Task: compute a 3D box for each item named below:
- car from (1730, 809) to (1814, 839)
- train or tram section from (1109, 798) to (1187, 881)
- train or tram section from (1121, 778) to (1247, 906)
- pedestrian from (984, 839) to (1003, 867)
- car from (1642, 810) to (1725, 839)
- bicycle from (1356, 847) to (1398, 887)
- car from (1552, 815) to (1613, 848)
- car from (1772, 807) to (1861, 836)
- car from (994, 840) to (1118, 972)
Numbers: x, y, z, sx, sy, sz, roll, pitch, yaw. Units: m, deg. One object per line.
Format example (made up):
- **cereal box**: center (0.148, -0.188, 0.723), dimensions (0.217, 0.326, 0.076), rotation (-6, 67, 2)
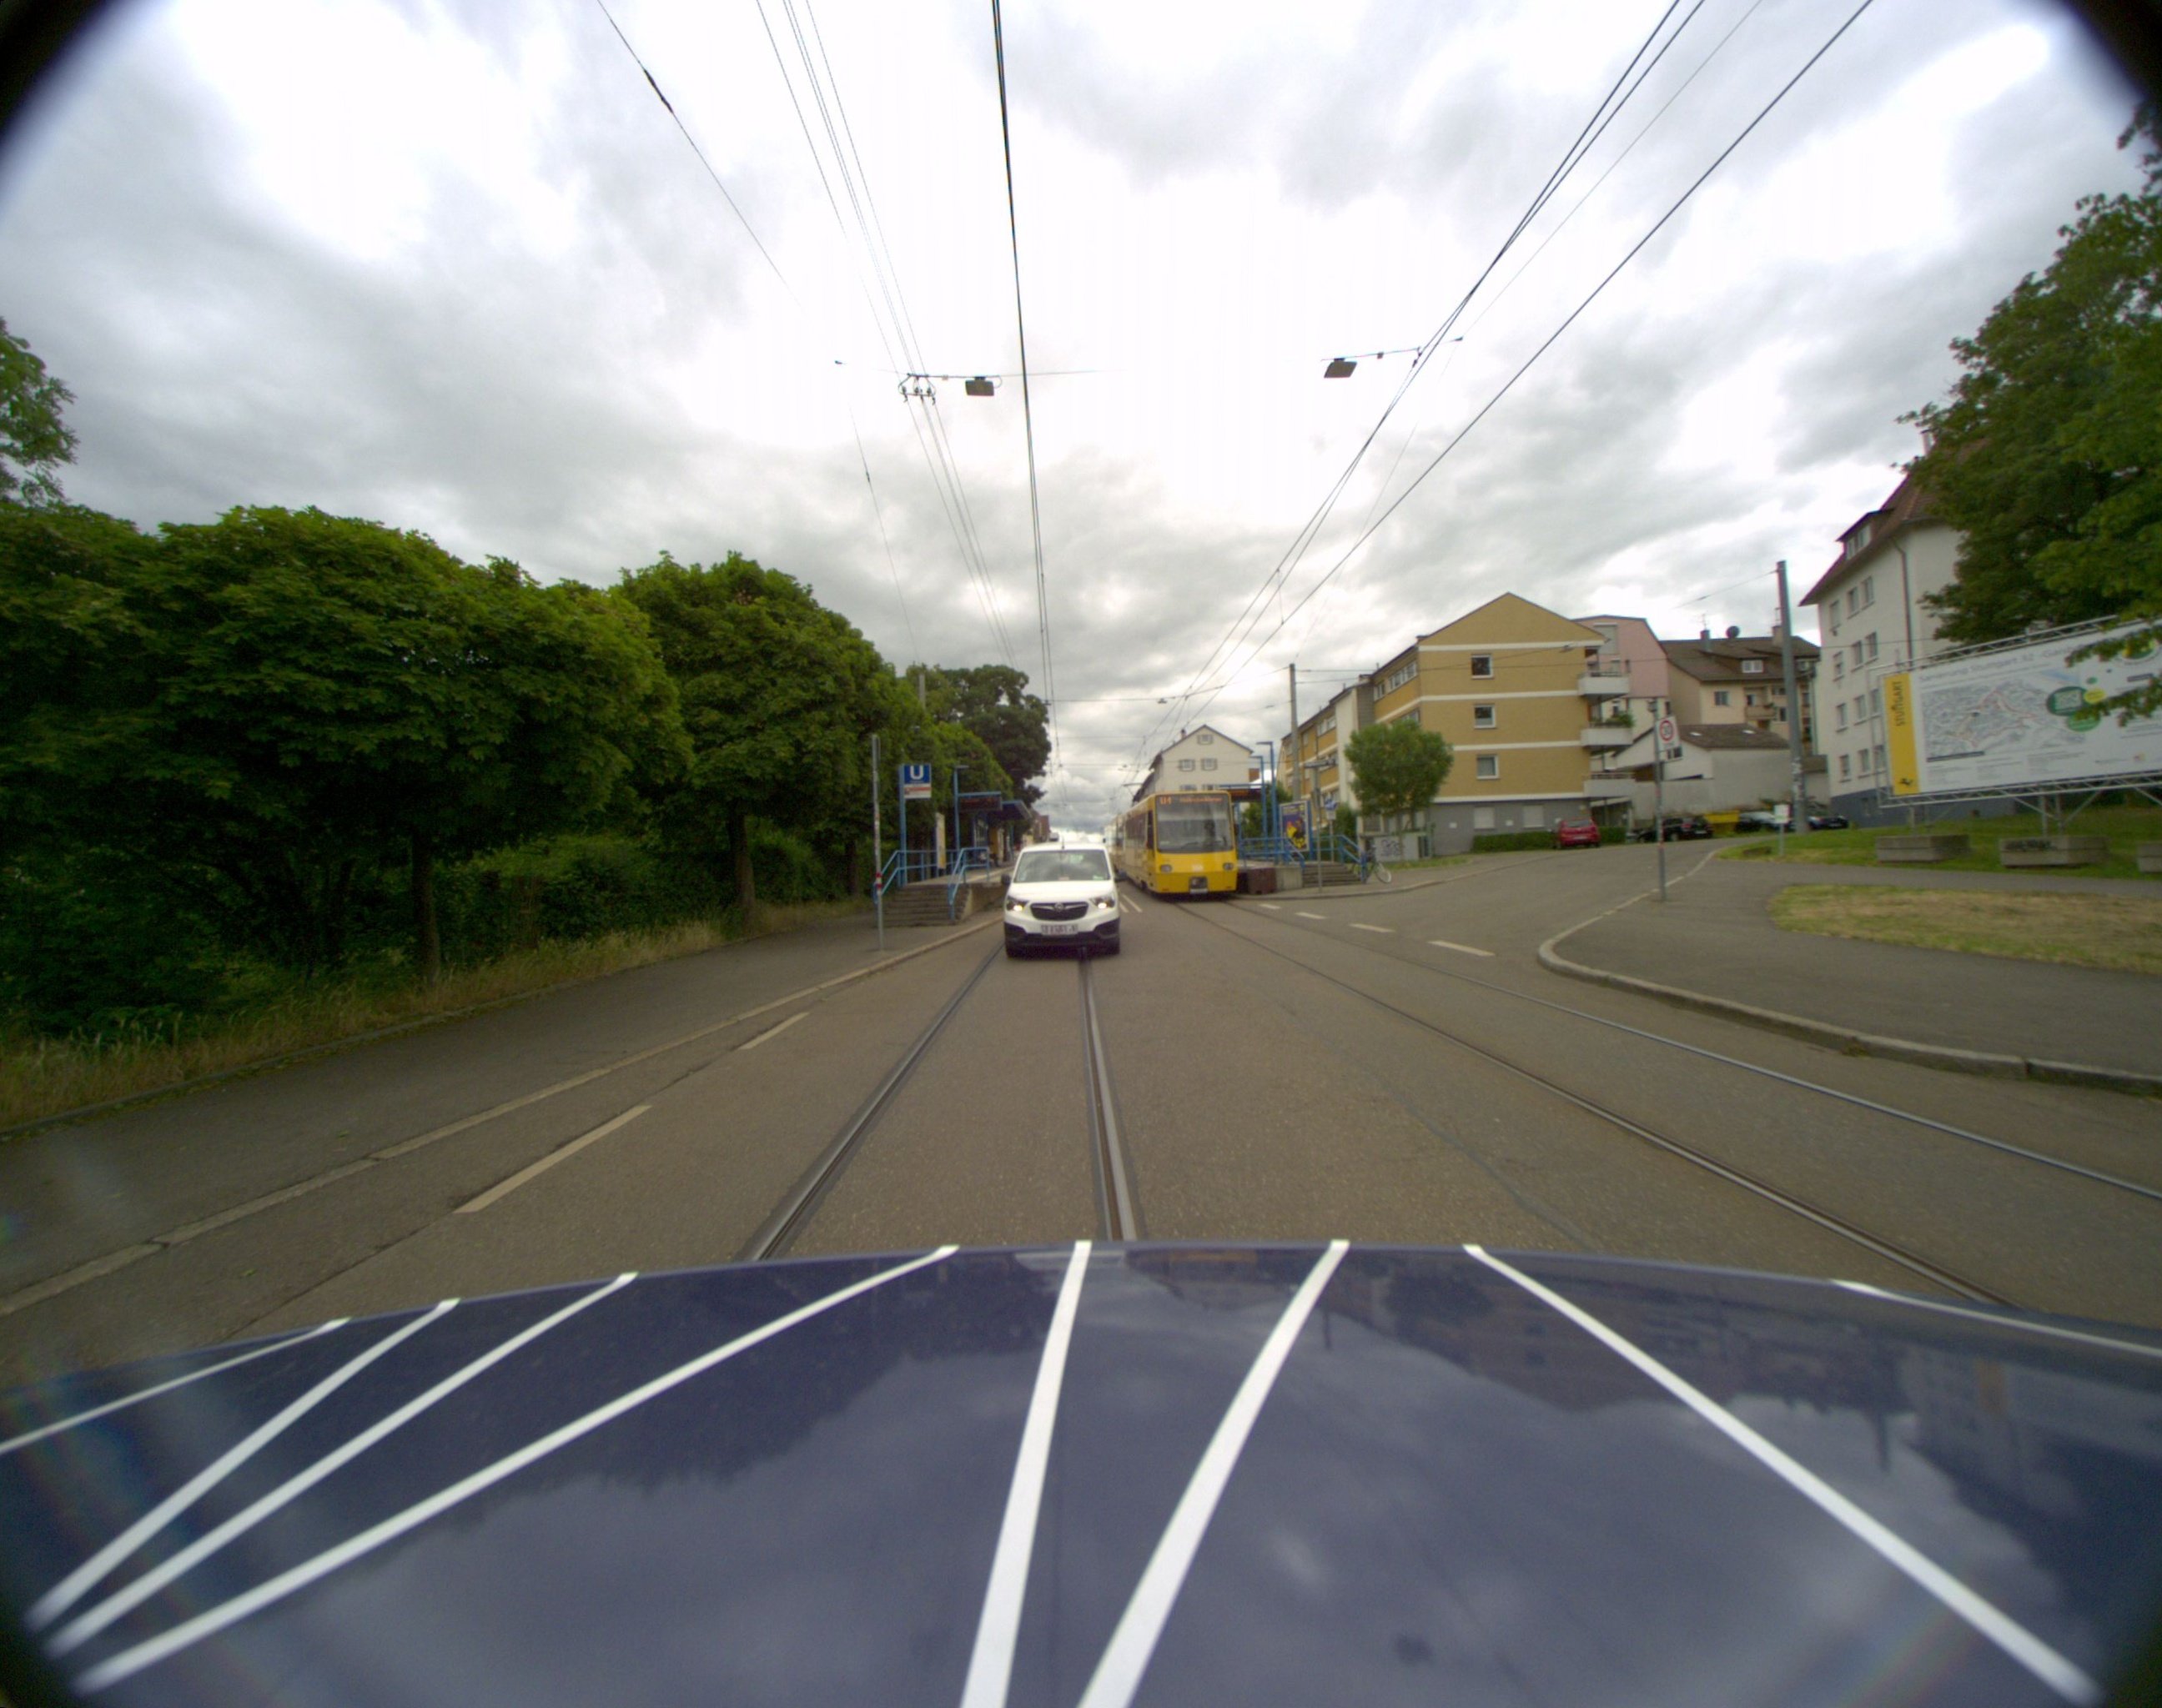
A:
- **car**: center (38.144, -1.630, 42.077), dimensions (1.839, 1.455, 4.004), rotation (-2, 1, 15)
- **train or tram section**: center (3.272, -0.717, 40.566), dimensions (2.831, 3.615, 12.127), rotation (-3, 1, -1)
- **train or tram section**: center (3.356, -0.404, 28.368), dimensions (2.857, 3.615, 12.128), rotation (-3, 1, 0)
- **pedestrian**: center (-4.301, -0.059, 37.228), dimensions (0.781, 1.307, 0.657), rotation (-3, 1, 0)
- **car**: center (33.010, -1.588, 41.772), dimensions (1.840, 1.455, 4.002), rotation (-2, 1, 9)
- **bicycle**: center (9.277, 0.378, 23.858), dimensions (0.713, 1.174, 1.488), rotation (-2, 1, 0)
- **car**: center (24.335, -1.096, 36.993), dimensions (1.838, 1.455, 4.006), rotation (-2, 1, 25)
- **car**: center (40.891, -1.755, 42.368), dimensions (1.839, 1.455, 4.004), rotation (-2, 1, 15)
- **car**: center (-0.323, 0.744, 13.264), dimensions (1.730, 1.850, 4.420), rotation (-3, 0, 1)
